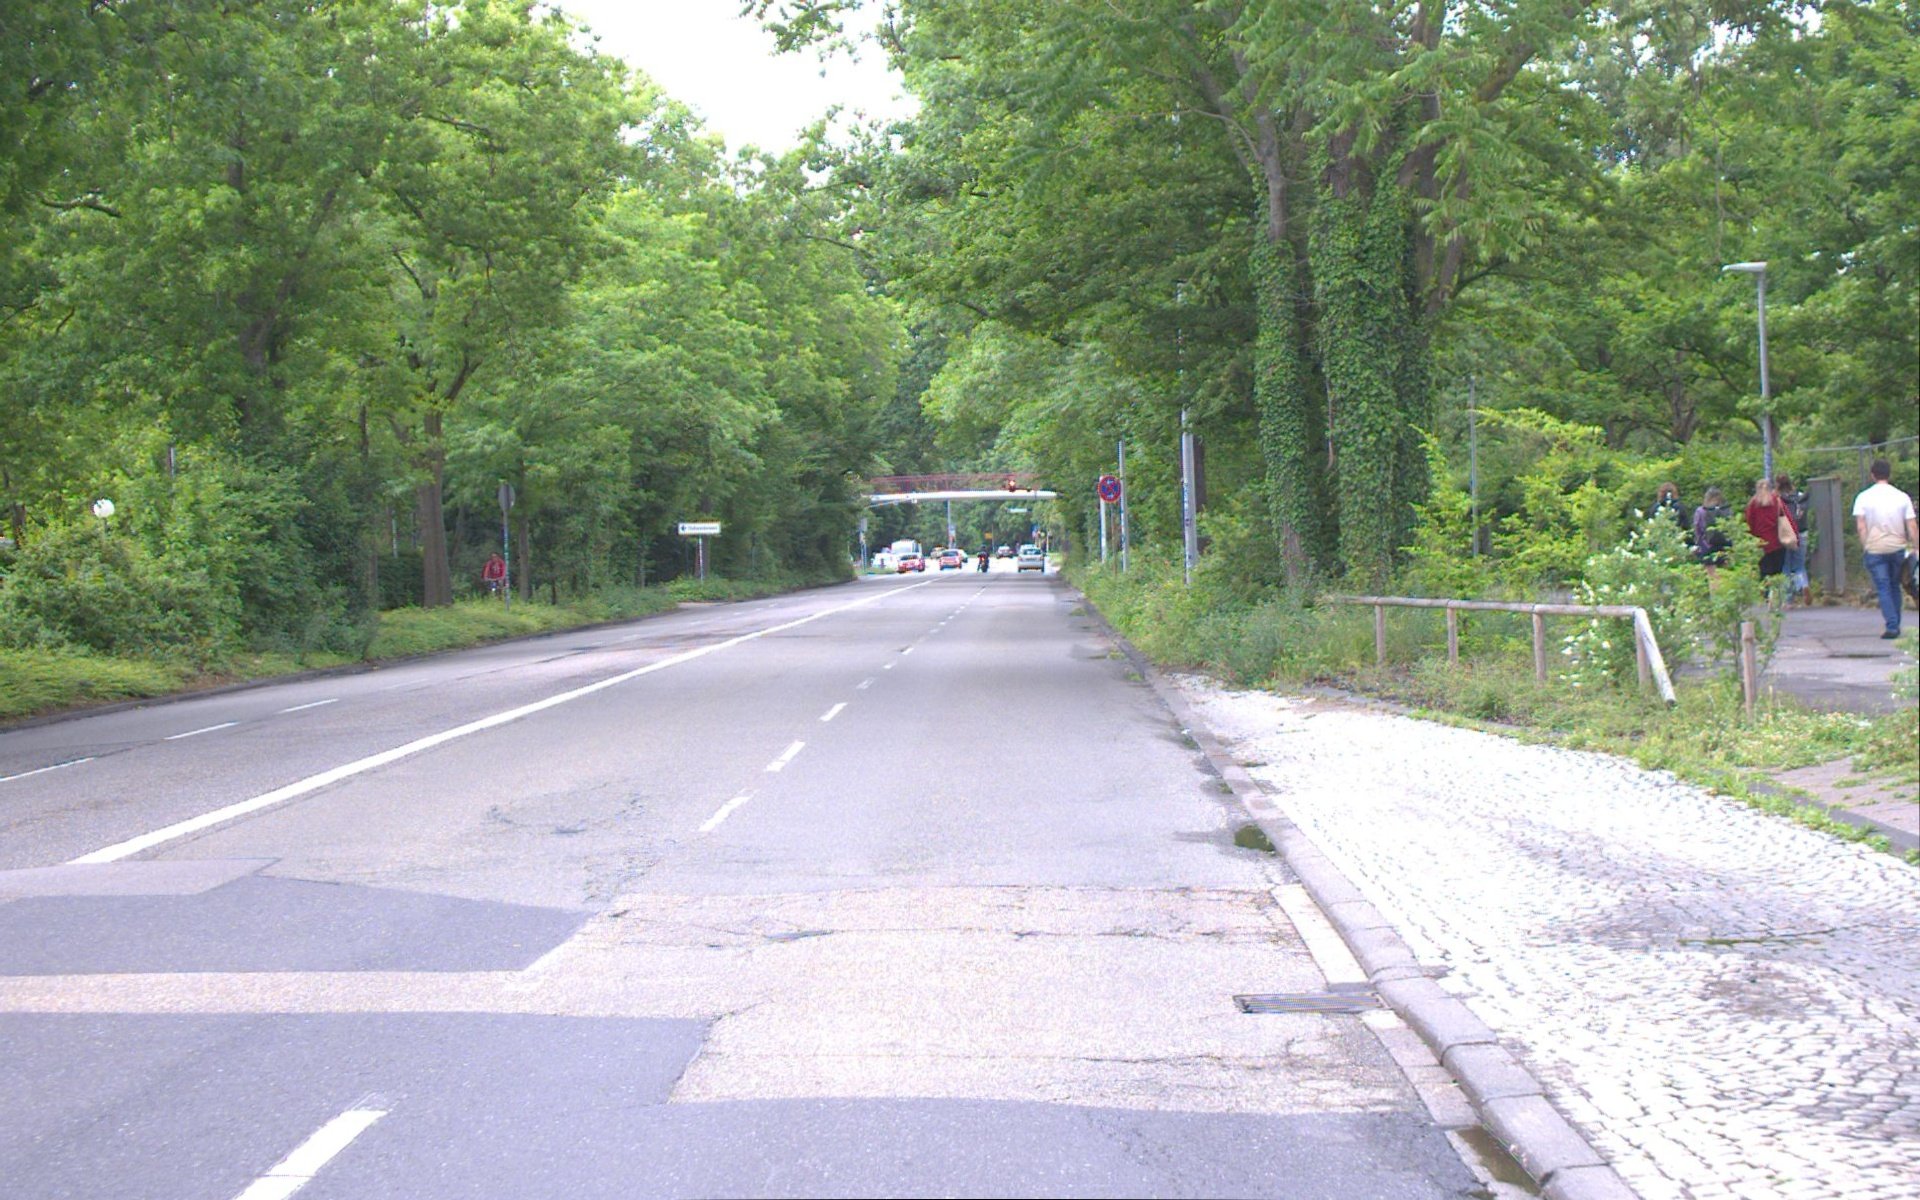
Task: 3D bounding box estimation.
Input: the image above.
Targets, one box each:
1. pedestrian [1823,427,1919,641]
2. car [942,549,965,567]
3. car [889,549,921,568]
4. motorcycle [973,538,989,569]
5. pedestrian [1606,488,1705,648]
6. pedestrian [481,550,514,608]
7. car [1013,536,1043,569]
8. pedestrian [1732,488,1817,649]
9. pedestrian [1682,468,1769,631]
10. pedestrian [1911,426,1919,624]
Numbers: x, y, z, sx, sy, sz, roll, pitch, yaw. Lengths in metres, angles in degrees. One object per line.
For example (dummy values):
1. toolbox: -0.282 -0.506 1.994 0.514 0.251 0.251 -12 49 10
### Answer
1. pedestrian: 9.024 -0.643 33.329 0.925 2.007 1.040 -3 1 -3
2. car: -0.505 -3.167 257.797 1.674 1.357 3.921 -1 1 1
3. car: -4.111 -3.121 257.808 1.994 1.349 3.894 -1 1 4
4. motorcycle: 1.314 -2.906 214.297 0.990 1.929 2.669 -1 1 1
5. pedestrian: 8.992 -0.418 44.478 0.925 2.007 1.040 -3 1 -3
6. pedestrian: -13.157 -0.600 97.882 0.792 1.608 0.848 -1 1 2
7. car: 4.168 -2.929 210.717 1.843 2.007 4.000 -1 1 1
8. pedestrian: 10.476 -0.403 44.231 0.824 2.007 0.720 -3 1 1
9. pedestrian: 9.739 -0.643 43.786 0.824 2.007 0.720 -4 1 1
10. pedestrian: 9.887 -0.714 33.318 0.925 2.007 1.040 -3 1 -3
